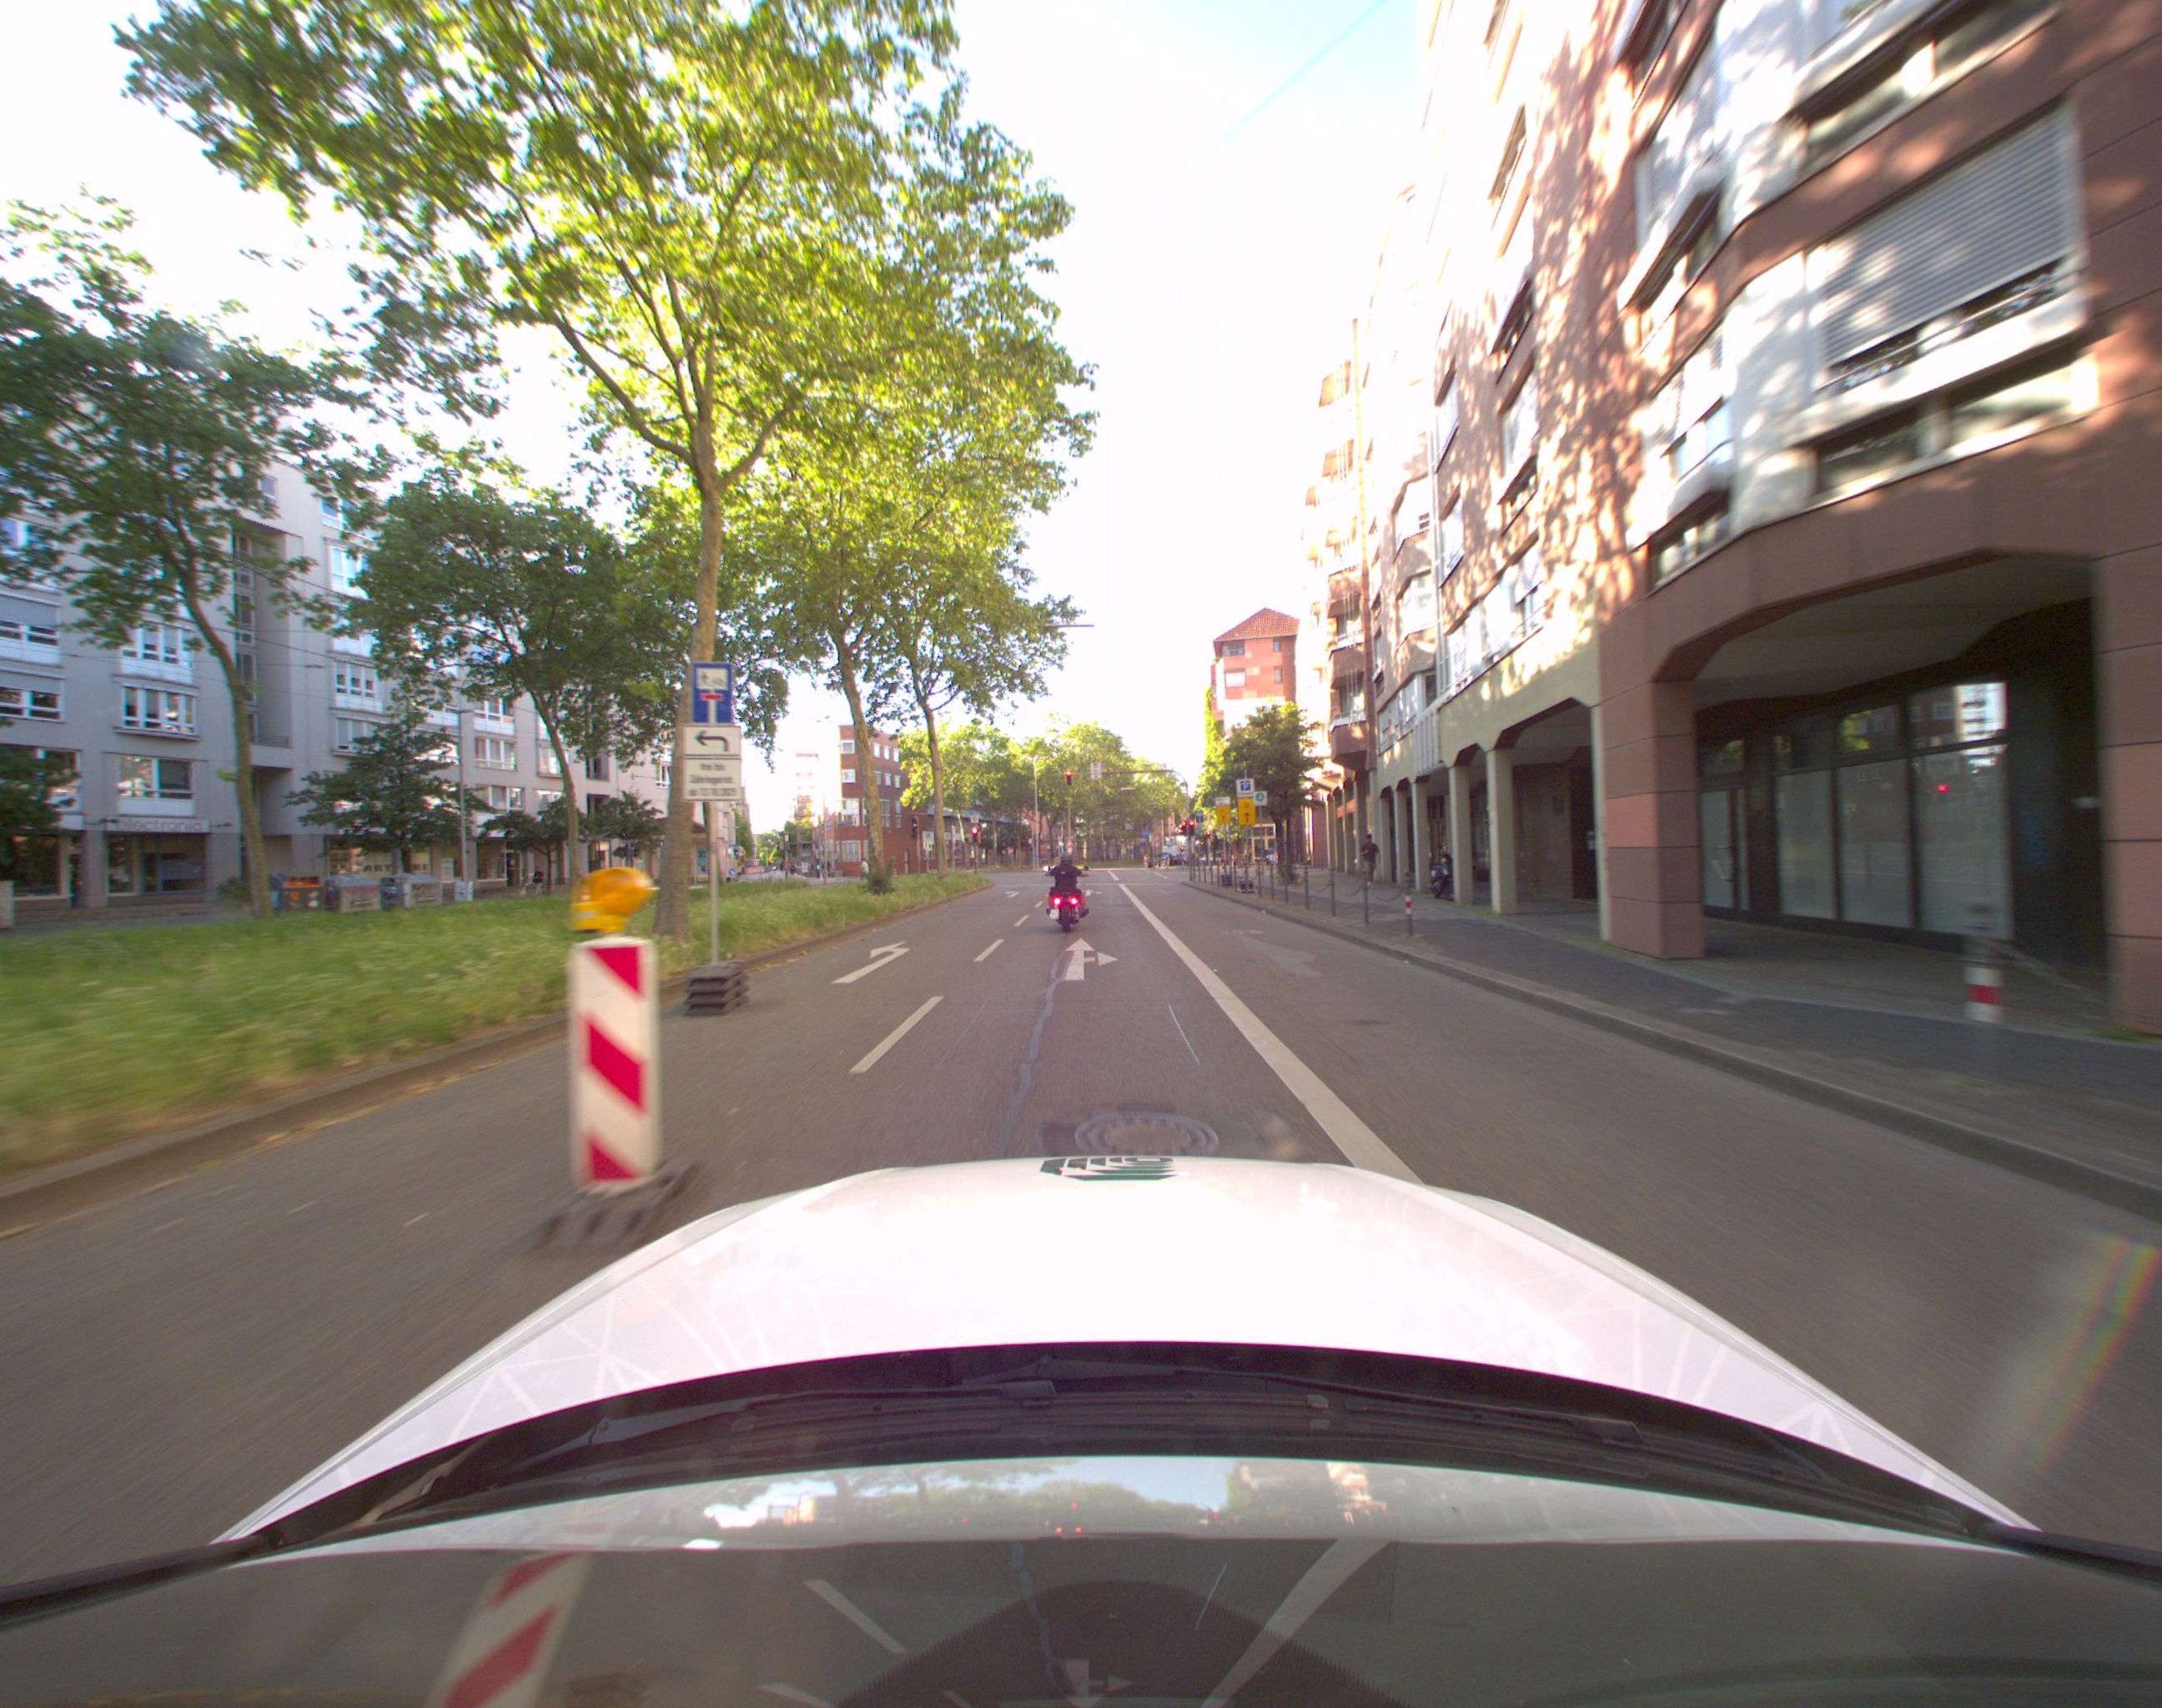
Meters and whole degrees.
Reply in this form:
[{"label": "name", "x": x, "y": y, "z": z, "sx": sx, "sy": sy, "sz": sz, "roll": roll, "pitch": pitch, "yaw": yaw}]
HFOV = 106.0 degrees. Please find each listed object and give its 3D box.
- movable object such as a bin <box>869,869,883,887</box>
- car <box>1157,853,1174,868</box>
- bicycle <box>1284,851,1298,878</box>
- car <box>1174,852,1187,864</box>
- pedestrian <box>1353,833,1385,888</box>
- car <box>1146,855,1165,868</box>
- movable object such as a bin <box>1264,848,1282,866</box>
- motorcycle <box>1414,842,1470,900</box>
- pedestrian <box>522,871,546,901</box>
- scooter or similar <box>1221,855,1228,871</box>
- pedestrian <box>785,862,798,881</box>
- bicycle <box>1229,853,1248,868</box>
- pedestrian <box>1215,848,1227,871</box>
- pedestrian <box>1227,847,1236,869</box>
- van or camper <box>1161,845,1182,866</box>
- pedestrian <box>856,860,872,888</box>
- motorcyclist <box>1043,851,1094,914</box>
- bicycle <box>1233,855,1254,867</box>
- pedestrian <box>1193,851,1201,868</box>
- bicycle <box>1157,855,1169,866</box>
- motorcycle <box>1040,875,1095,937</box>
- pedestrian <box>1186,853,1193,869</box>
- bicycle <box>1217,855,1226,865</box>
[{"label": "movable object such as a bin", "x": -11.320, "y": 1.333, "z": 45.027, "sx": 0.506, "sy": 0.953, "sz": 0.541, "roll": -2, "pitch": 0, "yaw": 14}, {"label": "car", "x": 9.997, "y": 0.765, "z": 96.357, "sx": 1.610, "sy": 1.619, "sz": 4.499, "roll": -2, "pitch": 0, "yaw": 11}, {"label": "bicycle", "x": 10.124, "y": 0.504, "z": 39.245, "sx": 0.617, "sy": 1.225, "sz": 1.934, "roll": -2, "pitch": 0, "yaw": 14}, {"label": "car", "x": 14.102, "y": 0.553, "z": 115.693, "sx": 1.610, "sy": 1.610, "sz": 3.784, "roll": -2, "pitch": 0, "yaw": 10}, {"label": "pedestrian", "x": 9.257, "y": 0.206, "z": 26.200, "sx": 0.776, "sy": 1.738, "sz": 0.839, "roll": -2, "pitch": 0, "yaw": 10}, {"label": "car", "x": 7.936, "y": 0.817, "z": 86.489, "sx": 1.610, "sy": 1.302, "sz": 4.324, "roll": -2, "pitch": 0, "yaw": 10}, {"label": "movable object such as a bin", "x": 15.939, "y": 0.262, "z": 67.644, "sx": 1.400, "sy": 1.482, "sz": 0.875, "roll": -2, "pitch": 0, "yaw": 13}, {"label": "motorcycle", "x": 9.029, "y": 0.407, "z": 20.429, "sx": 0.486, "sy": 1.372, "sz": 2.091, "roll": -2, "pitch": 0, "yaw": 2}, {"label": "pedestrian", "x": -30.860, "y": 1.792, "z": 45.936, "sx": 0.702, "sy": 1.639, "sz": 0.791, "roll": -2, "pitch": 0, "yaw": 12}, {"label": "scooter or similar", "x": 11.255, "y": 0.705, "z": 63.845, "sx": 0.392, "sy": 1.158, "sz": 1.252, "roll": -2, "pitch": 0, "yaw": 7}, {"label": "pedestrian", "x": -28.114, "y": 1.691, "z": 78.992, "sx": 0.850, "sy": 1.869, "sz": 0.754, "roll": -2, "pitch": 0, "yaw": 9}, {"label": "bicycle", "x": 13.616, "y": 0.581, "z": 70.413, "sx": 1.558, "sy": 1.227, "sz": 0.579, "roll": -2, "pitch": 0, "yaw": 7}, {"label": "pedestrian", "x": 10.967, "y": 0.431, "z": 63.926, "sx": 0.782, "sy": 1.763, "sz": 0.610, "roll": -2, "pitch": 0, "yaw": 3}, {"label": "pedestrian", "x": 11.795, "y": 0.291, "z": 63.858, "sx": 0.458, "sy": 1.672, "sz": 0.679, "roll": -2, "pitch": 0, "yaw": -3}, {"label": "van or camper", "x": 11.442, "y": 0.189, "z": 102.837, "sx": 2.035, "sy": 2.540, "sz": 5.791, "roll": -2, "pitch": 0, "yaw": 11}, {"label": "pedestrian", "x": -11.936, "y": 1.100, "z": 44.888, "sx": 0.614, "sy": 1.503, "sz": 0.536, "roll": -2, "pitch": 0, "yaw": 14}, {"label": "motorcyclist", "x": -0.260, "y": 0.563, "z": 16.518, "sx": 1.009, "sy": 1.263, "sz": 0.773, "roll": 0, "pitch": 0, "yaw": -2}, {"label": "bicycle", "x": 14.652, "y": 0.616, "z": 73.395, "sx": 1.730, "sy": 1.053, "sz": 0.744, "roll": -2, "pitch": 0, "yaw": 29}, {"label": "pedestrian", "x": 12.032, "y": 0.571, "z": 84.347, "sx": 0.697, "sy": 1.733, "sz": 0.769, "roll": -2, "pitch": 0, "yaw": 5}, {"label": "bicycle", "x": 7.989, "y": 0.669, "z": 79.504, "sx": 0.736, "sy": 1.053, "sz": 1.747, "roll": -2, "pitch": 0, "yaw": -8}, {"label": "motorcycle", "x": -0.268, "y": 1.012, "z": 16.508, "sx": 1.015, "sy": 1.097, "sz": 2.007, "roll": -2, "pitch": 0, "yaw": -1}, {"label": "pedestrian", "x": 11.256, "y": 0.745, "z": 84.538, "sx": 0.641, "sy": 1.578, "sz": 0.749, "roll": -2, "pitch": 0, "yaw": 5}, {"label": "bicycle", "x": 13.593, "y": 0.567, "z": 78.676, "sx": 0.733, "sy": 0.939, "sz": 1.755, "roll": -2, "pitch": 0, "yaw": 6}]
